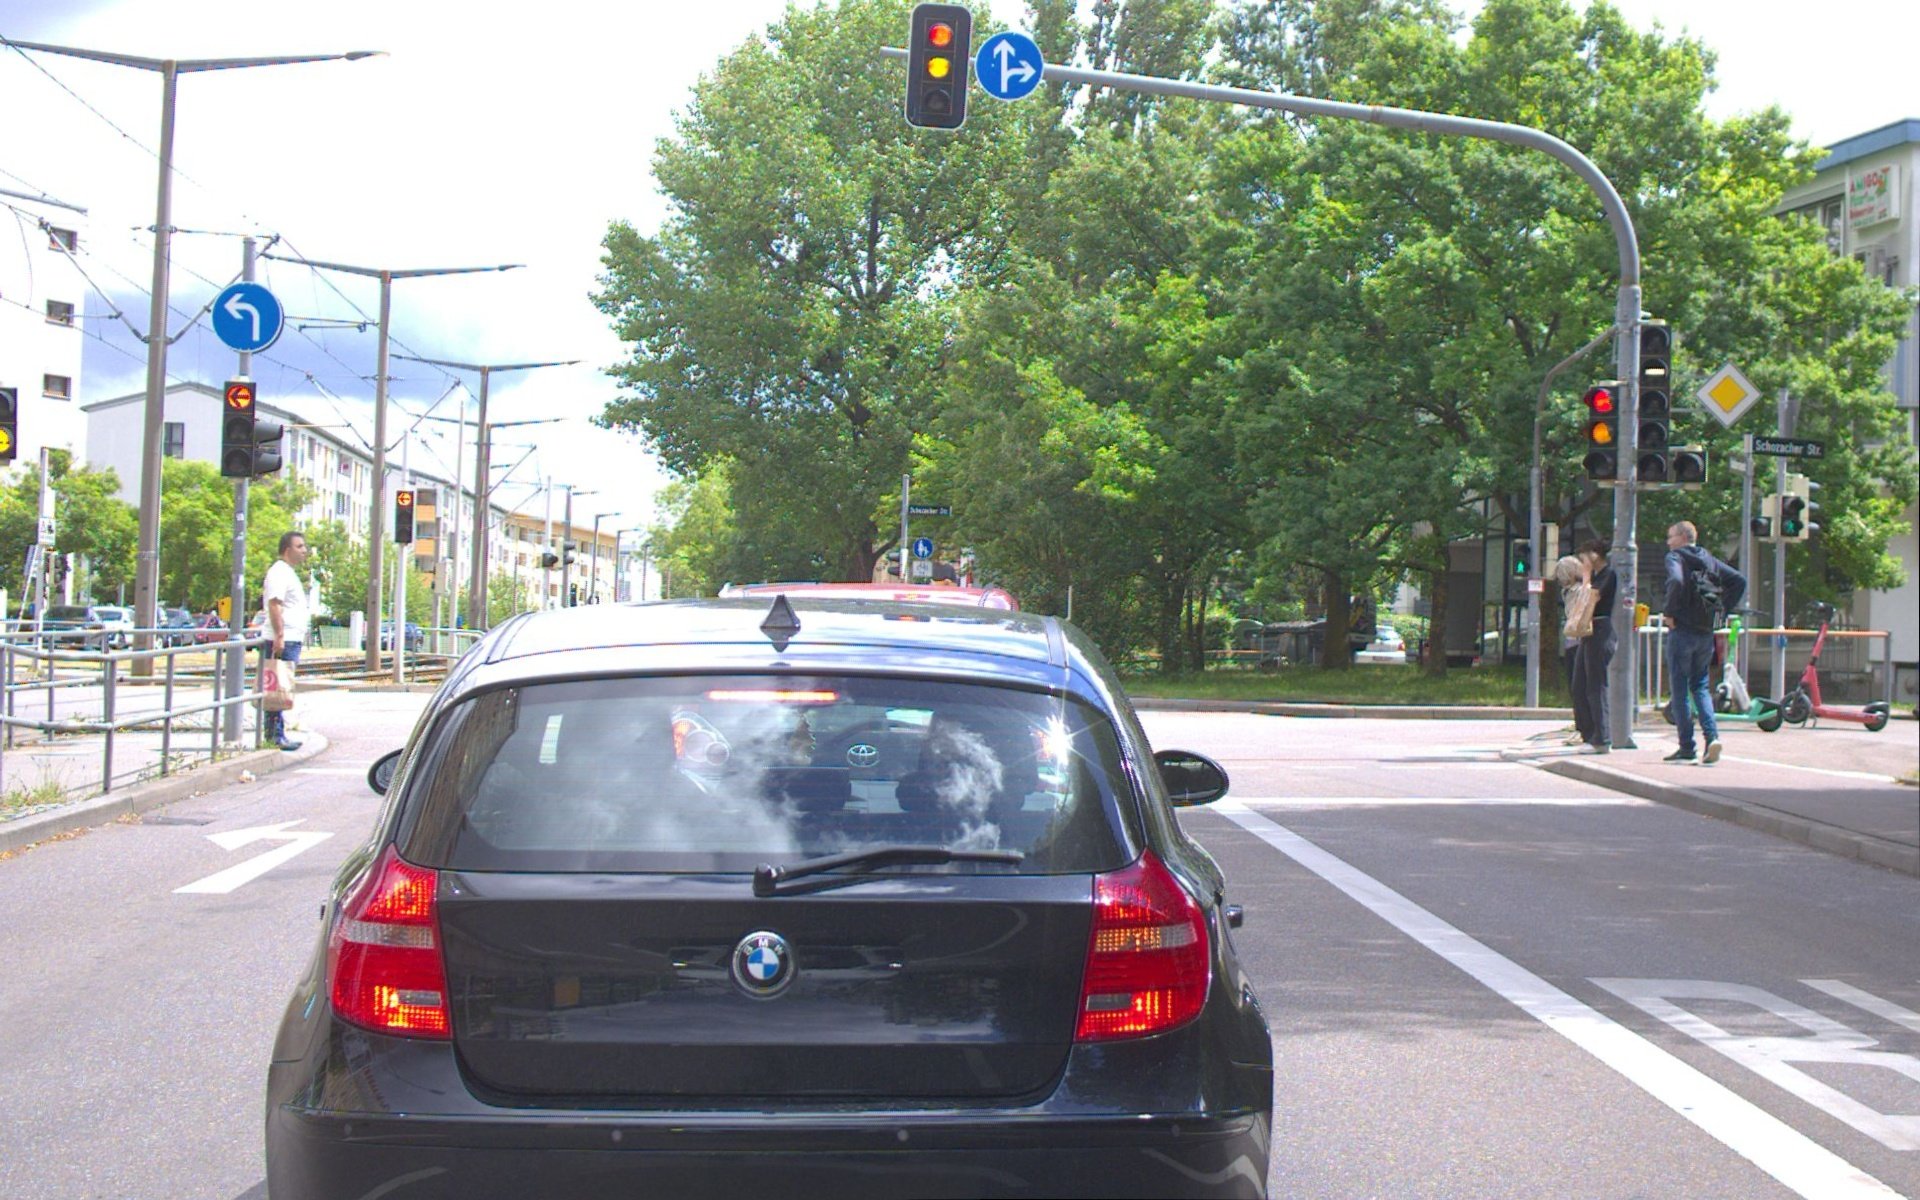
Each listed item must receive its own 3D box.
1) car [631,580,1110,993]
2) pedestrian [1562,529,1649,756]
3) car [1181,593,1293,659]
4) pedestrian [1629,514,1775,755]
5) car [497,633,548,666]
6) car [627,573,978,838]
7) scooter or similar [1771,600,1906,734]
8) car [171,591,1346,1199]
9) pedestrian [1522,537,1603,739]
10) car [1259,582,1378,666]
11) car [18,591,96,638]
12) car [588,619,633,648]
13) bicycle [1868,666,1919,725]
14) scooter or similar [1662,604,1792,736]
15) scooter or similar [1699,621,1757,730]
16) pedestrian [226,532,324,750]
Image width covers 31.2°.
[{"bbox_3d":[-0.330,0.637,13.633,1.638,1.395,3.420,1,0,-1],"label":"car"},{"bbox_3d":[5.384,0.350,28.683,0.636,1.870,0.518,1,0,6],"label":"pedestrian"},{"bbox_3d":[7.283,0.659,90.685,1.862,1.656,4.001,1,0,-11],"label":"car"},{"bbox_3d":[5.886,0.265,27.268,1.011,1.870,0.797,0,0,21],"label":"pedestrian"},{"bbox_3d":[-21.843,2.456,171.759,1.651,1.529,3.871,1,0,6],"label":"car"},{"bbox_3d":[-0.888,0.557,21.075,1.900,1.417,4.539,1,0,-1],"label":"car"},{"bbox_3d":[8.658,0.655,33.912,1.150,1.268,0.555,2,0,2],"label":"scooter or similar"},{"bbox_3d":[-0.317,0.704,6.730,1.700,1.395,3.420,1,0,-1],"label":"car"},{"bbox_3d":[5.341,0.332,30.502,0.636,1.760,0.518,1,0,6],"label":"pedestrian"},{"bbox_3d":[8.284,0.543,79.736,1.726,1.865,4.001,1,0,-9],"label":"car"},{"bbox_3d":[-29.381,0.460,111.921,1.591,1.469,3.775,1,0,-2],"label":"car"},{"bbox_3d":[-19.451,1.849,191.446,1.651,1.529,3.870,0,0,7],"label":"car"},{"bbox_3d":[10.644,1.039,37.025,1.589,0.608,0.533,1,0,40],"label":"bicycle"},{"bbox_3d":[7.374,0.668,33.077,1.110,1.231,0.539,1,0,2],"label":"scooter or similar"},{"bbox_3d":[7.800,0.755,34.901,0.548,1.060,1.261,1,0,13],"label":"scooter or similar"},{"bbox_3d":[-5.503,0.325,27.607,0.687,1.728,0.688,1,0,-17],"label":"pedestrian"}]
